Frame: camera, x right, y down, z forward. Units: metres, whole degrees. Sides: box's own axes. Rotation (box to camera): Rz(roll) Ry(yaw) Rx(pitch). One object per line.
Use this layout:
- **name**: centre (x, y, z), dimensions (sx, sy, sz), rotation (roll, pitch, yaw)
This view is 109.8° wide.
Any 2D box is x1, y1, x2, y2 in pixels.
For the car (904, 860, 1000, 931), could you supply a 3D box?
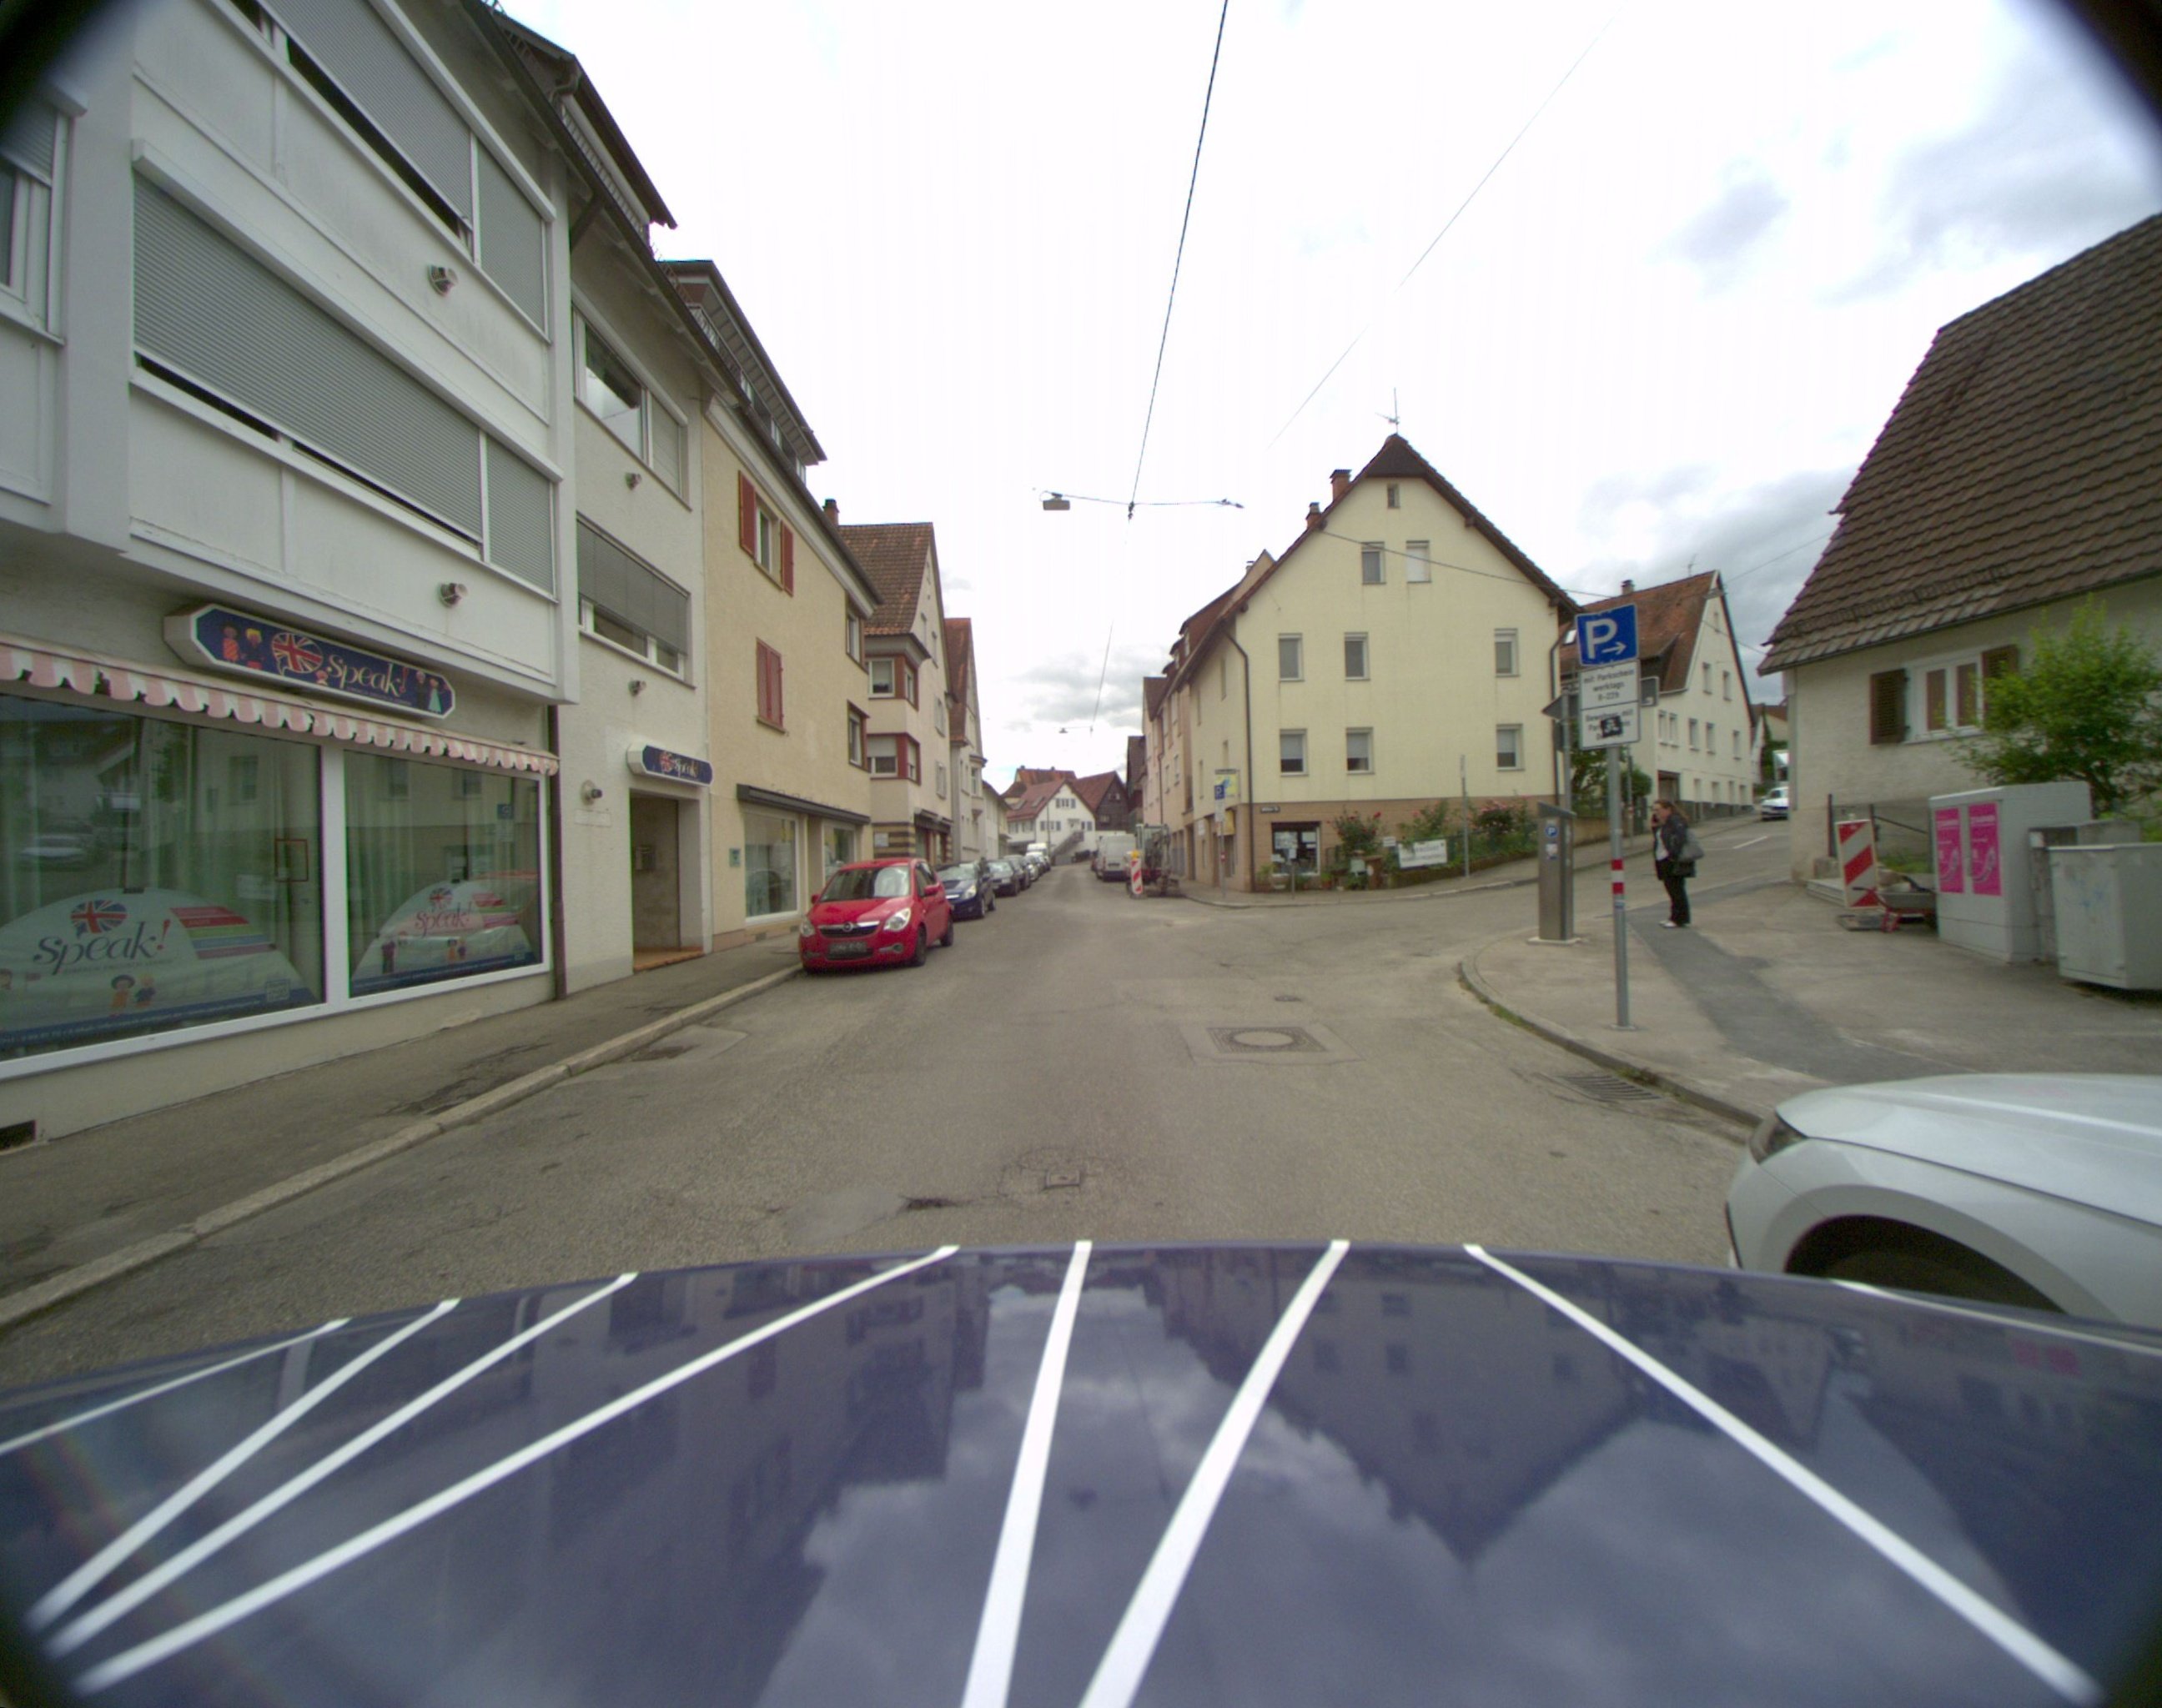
- **car**: centre (-3.219, 0.976, 19.700), dimensions (1.696, 1.441, 3.919), rotation (-6, 0, 0)

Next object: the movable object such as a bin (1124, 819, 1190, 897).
- **movable object such as a bin**: centre (2.550, 0.107, 26.510), dimensions (1.571, 2.486, 4.672), rotation (-1, 1, -3)

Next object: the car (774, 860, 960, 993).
- **car**: centre (-3.094, 0.966, 11.791), dimensions (1.696, 1.547, 3.695), rotation (-4, 1, 0)

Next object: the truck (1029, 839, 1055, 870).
- **truck**: centre (-3.490, 0.051, 69.015), dimensions (1.825, 2.580, 4.780), rotation (-5, 1, 1)

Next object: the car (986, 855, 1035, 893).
- **car**: centre (-3.155, 0.864, 34.574), dimensions (1.696, 1.441, 4.103), rotation (-5, 0, 0)

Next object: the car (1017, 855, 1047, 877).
- **car**: centre (-3.493, 0.833, 54.826), dimensions (1.696, 1.382, 3.713), rotation (-5, 0, 1)

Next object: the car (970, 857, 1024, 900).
- **car**: centre (-3.199, 0.894, 29.447), dimensions (1.696, 1.395, 4.000), rotation (-4, 0, -2)

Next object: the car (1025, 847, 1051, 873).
- **car**: centre (-3.592, 0.449, 63.475), dimensions (1.696, 1.992, 4.093), rotation (-5, 1, 1)

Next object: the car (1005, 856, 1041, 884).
- **car**: centre (-3.383, 0.886, 44.702), dimensions (1.696, 1.382, 3.801), rotation (-5, 0, 0)

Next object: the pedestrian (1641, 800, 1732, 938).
- **pedestrian**: centre (7.748, 0.188, 9.743), dimensions (0.647, 1.675, 0.605), rotation (-4, 1, 17)

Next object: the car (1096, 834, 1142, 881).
- **car**: centre (1.984, 0.141, 41.811), dimensions (1.999, 2.374, 6.619), rotation (0, 0, -2)

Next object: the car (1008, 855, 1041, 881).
- **car**: centre (-3.621, 0.881, 49.150), dimensions (1.696, 1.382, 3.713), rotation (-5, 0, 1)

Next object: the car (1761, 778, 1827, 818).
- **car**: centre (32.074, -2.541, 34.130), dimensions (4.304, 1.437, 1.796), rotation (-7, 1, -43)
